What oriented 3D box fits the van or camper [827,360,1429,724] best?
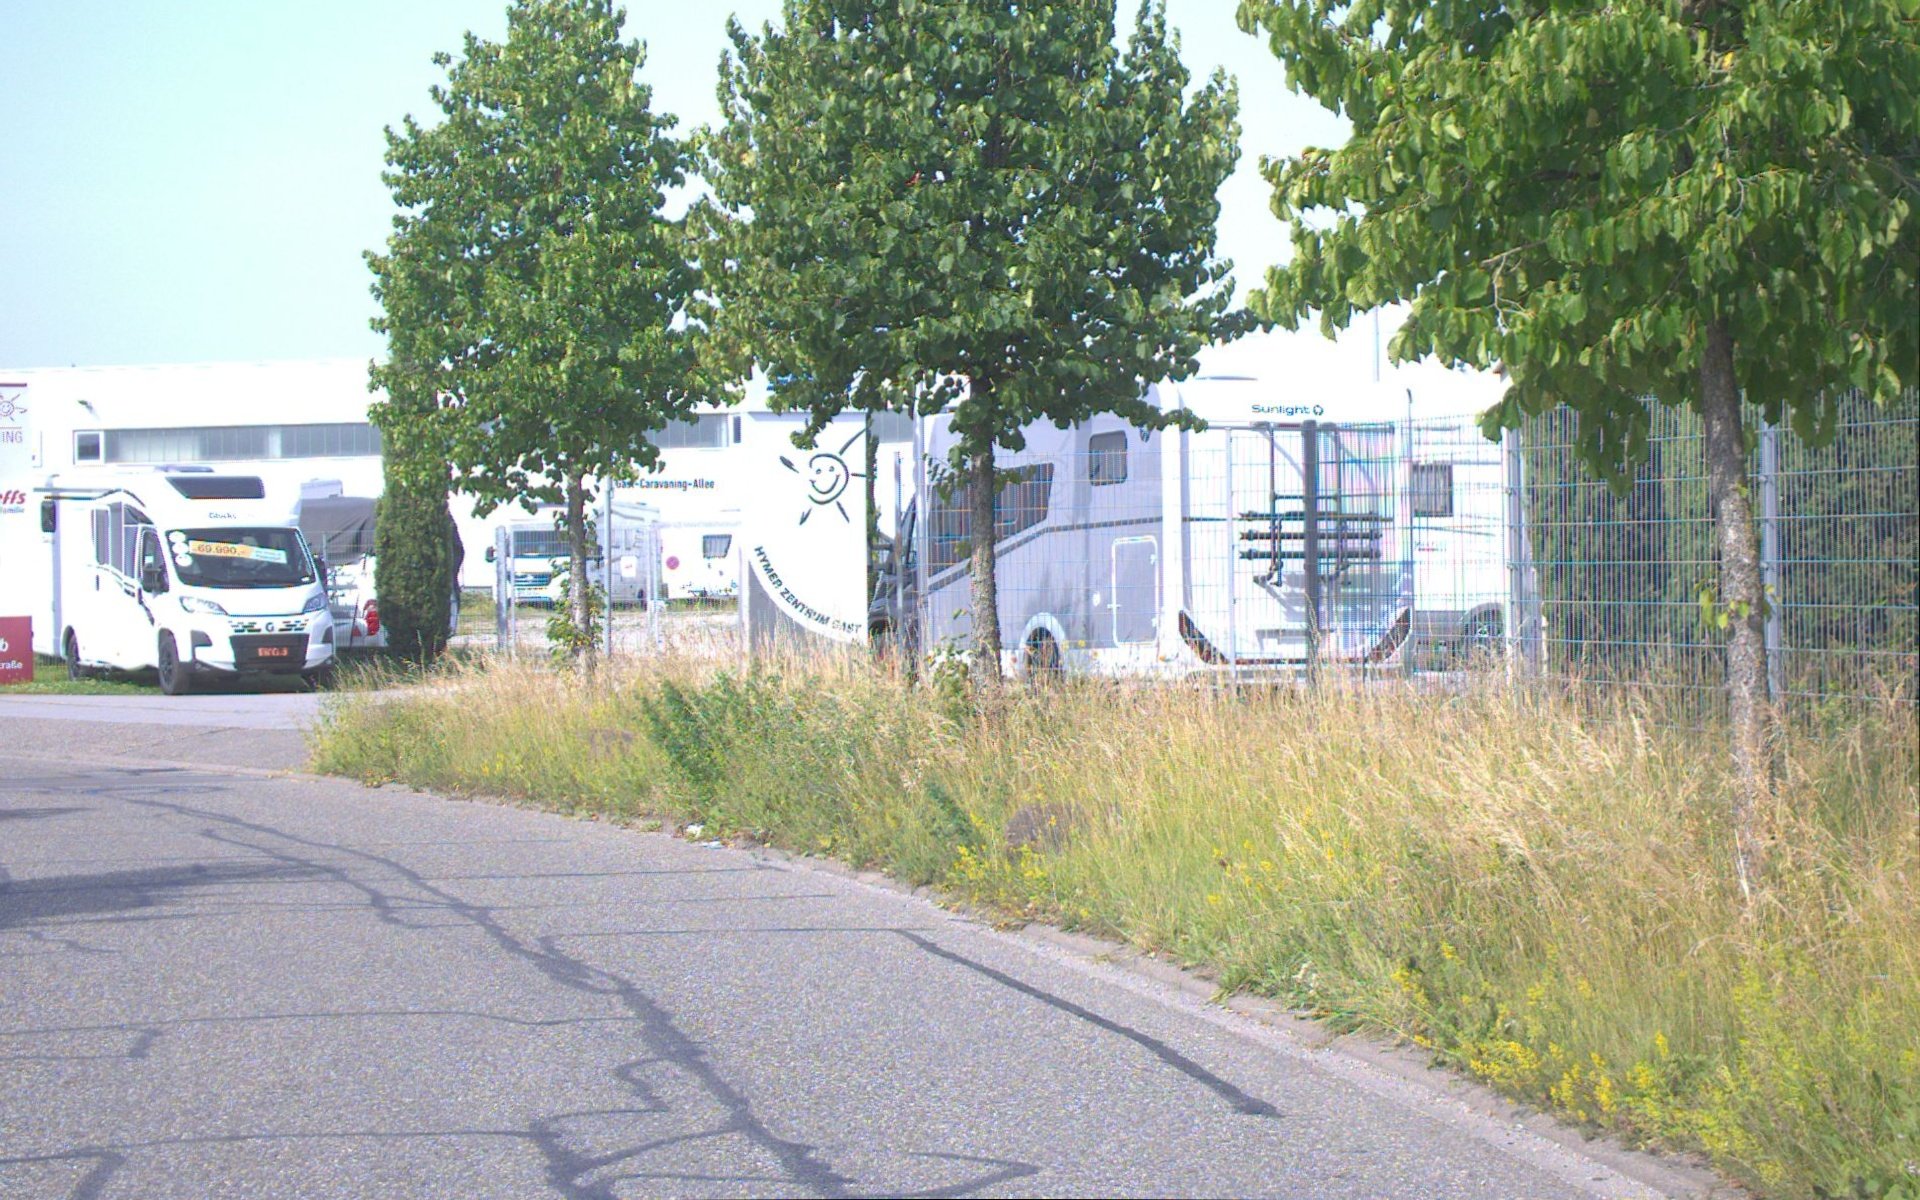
[{"bbox_3d":[1.242,-0.510,30.645,2.348,2.838,7.343,-1,1,-23],"label":"van or camper"}]

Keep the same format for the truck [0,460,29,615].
[{"bbox_3d":[-29.076,-1.568,89.005,9.285,3.959,2.458,-1,1,6],"label":"truck"}]

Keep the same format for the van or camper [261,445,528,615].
[{"bbox_3d":[-10.820,-1.396,66.698,2.950,3.073,7.968,0,2,7],"label":"van or camper"}]

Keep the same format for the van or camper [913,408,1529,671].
[{"bbox_3d":[3.130,-0.740,42.146,7.259,3.021,2.585,-1,1,2],"label":"van or camper"}]

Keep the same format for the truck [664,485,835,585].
[{"bbox_3d":[-4.920,-1.582,81.953,2.451,2.257,8.000,0,1,8],"label":"truck"}]

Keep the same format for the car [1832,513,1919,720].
[{"bbox_3d":[8.565,0.110,28.590,1.722,1.637,4.000,1,2,2],"label":"car"}]

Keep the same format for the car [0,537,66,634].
[{"bbox_3d":[-15.950,-0.196,53.015,2.168,1.471,3.995,-1,1,23],"label":"car"}]

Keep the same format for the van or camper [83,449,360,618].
[{"bbox_3d":[-14.265,-1.350,67.124,2.799,3.073,7.968,0,2,7],"label":"van or camper"}]

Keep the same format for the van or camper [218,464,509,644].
[{"bbox_3d":[-8.957,-0.754,52.401,2.484,2.550,6.624,0,2,8],"label":"van or camper"}]

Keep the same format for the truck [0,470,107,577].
[{"bbox_3d":[-23.025,-1.815,81.734,2.451,2.462,8.000,0,1,8],"label":"truck"}]

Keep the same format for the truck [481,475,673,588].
[{"bbox_3d":[-8.789,-1.611,79.810,2.451,2.462,8.000,0,1,8],"label":"truck"}]

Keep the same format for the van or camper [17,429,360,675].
[{"bbox_3d":[-10.131,-0.651,44.605,2.331,2.933,6.971,-2,2,-30],"label":"van or camper"}]
